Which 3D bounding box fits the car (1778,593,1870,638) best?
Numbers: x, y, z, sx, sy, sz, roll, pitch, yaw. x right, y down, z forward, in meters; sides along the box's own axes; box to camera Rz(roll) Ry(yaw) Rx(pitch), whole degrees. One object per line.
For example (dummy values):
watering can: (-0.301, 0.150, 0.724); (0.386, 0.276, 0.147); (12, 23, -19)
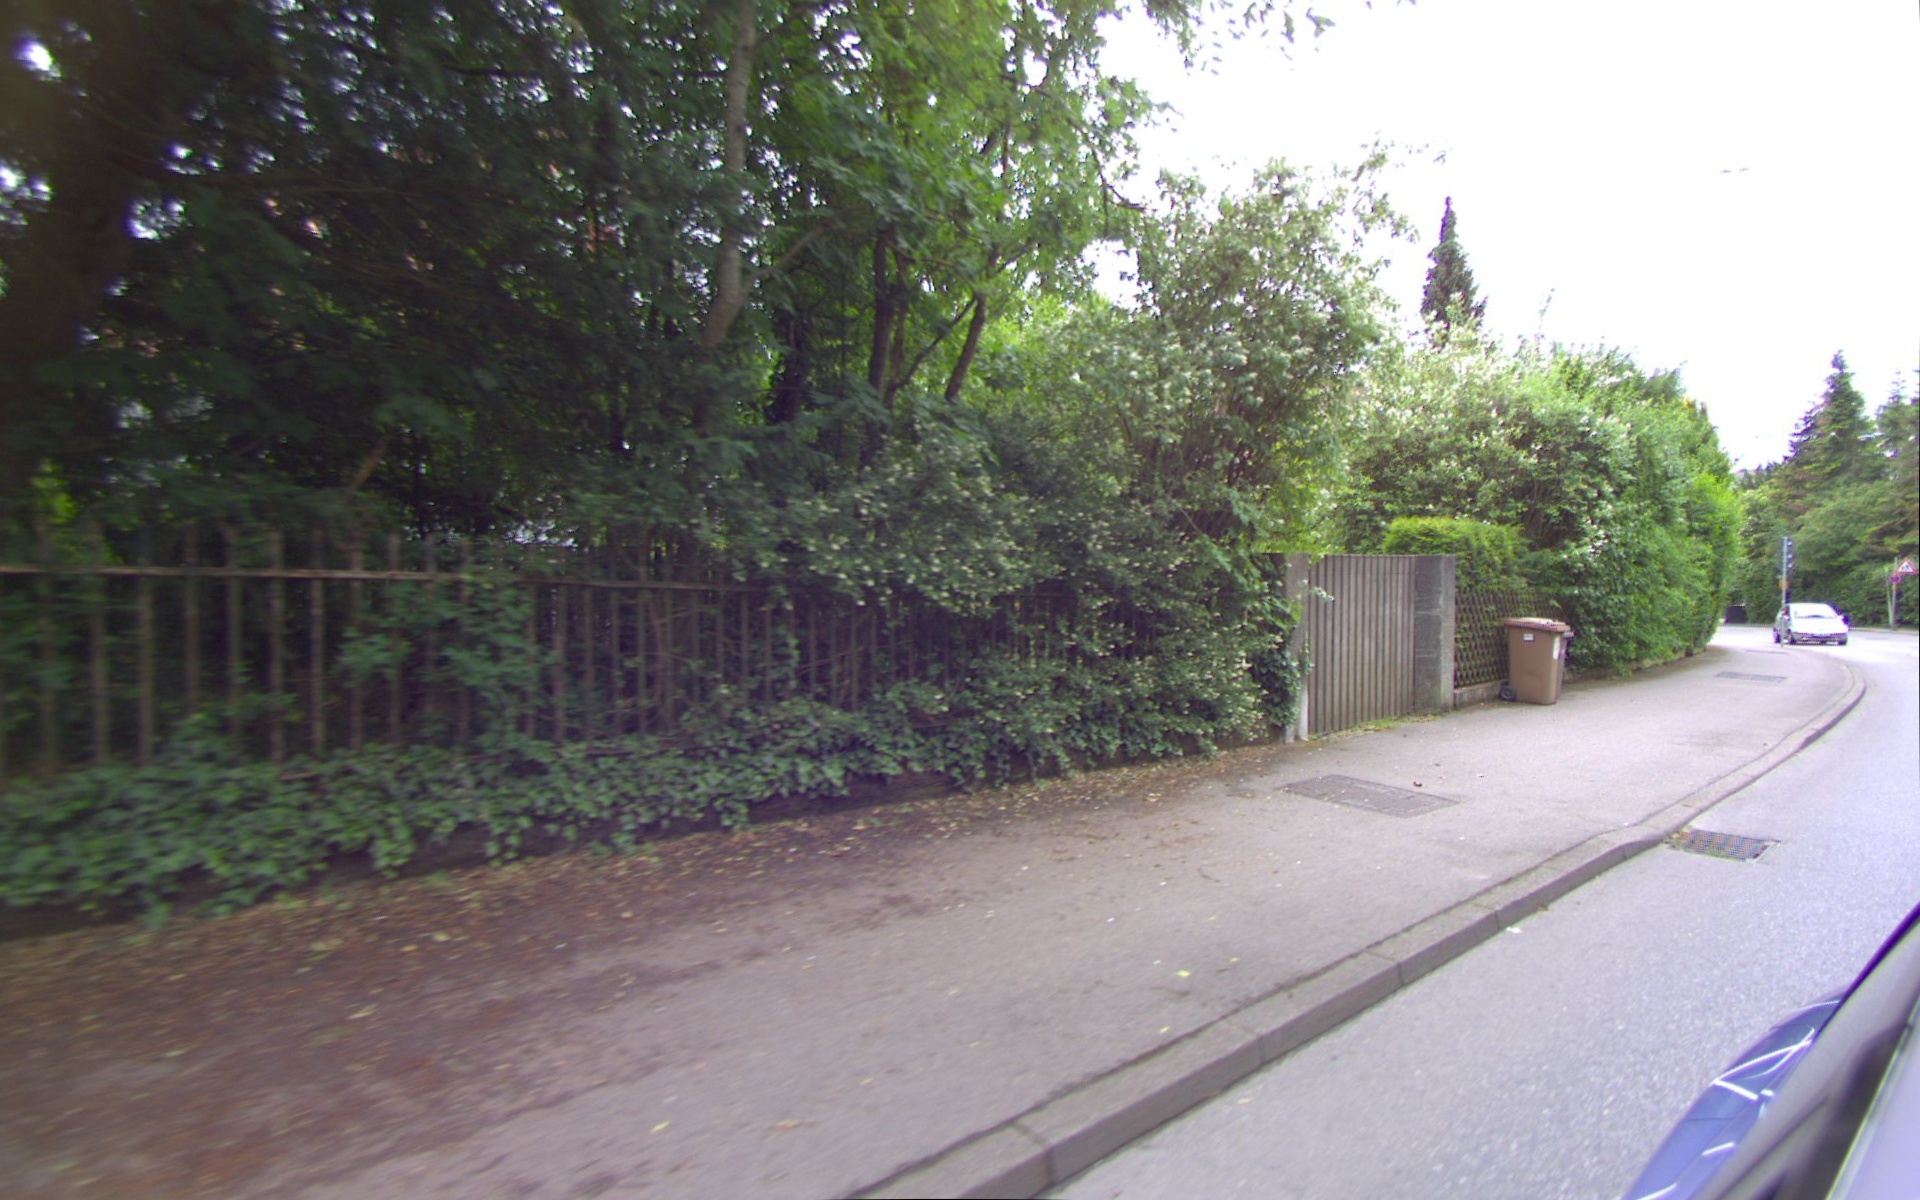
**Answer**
car: (33.209, 0.572, 39.016); (1.983, 1.616, 3.957); (0, 0, 30)
